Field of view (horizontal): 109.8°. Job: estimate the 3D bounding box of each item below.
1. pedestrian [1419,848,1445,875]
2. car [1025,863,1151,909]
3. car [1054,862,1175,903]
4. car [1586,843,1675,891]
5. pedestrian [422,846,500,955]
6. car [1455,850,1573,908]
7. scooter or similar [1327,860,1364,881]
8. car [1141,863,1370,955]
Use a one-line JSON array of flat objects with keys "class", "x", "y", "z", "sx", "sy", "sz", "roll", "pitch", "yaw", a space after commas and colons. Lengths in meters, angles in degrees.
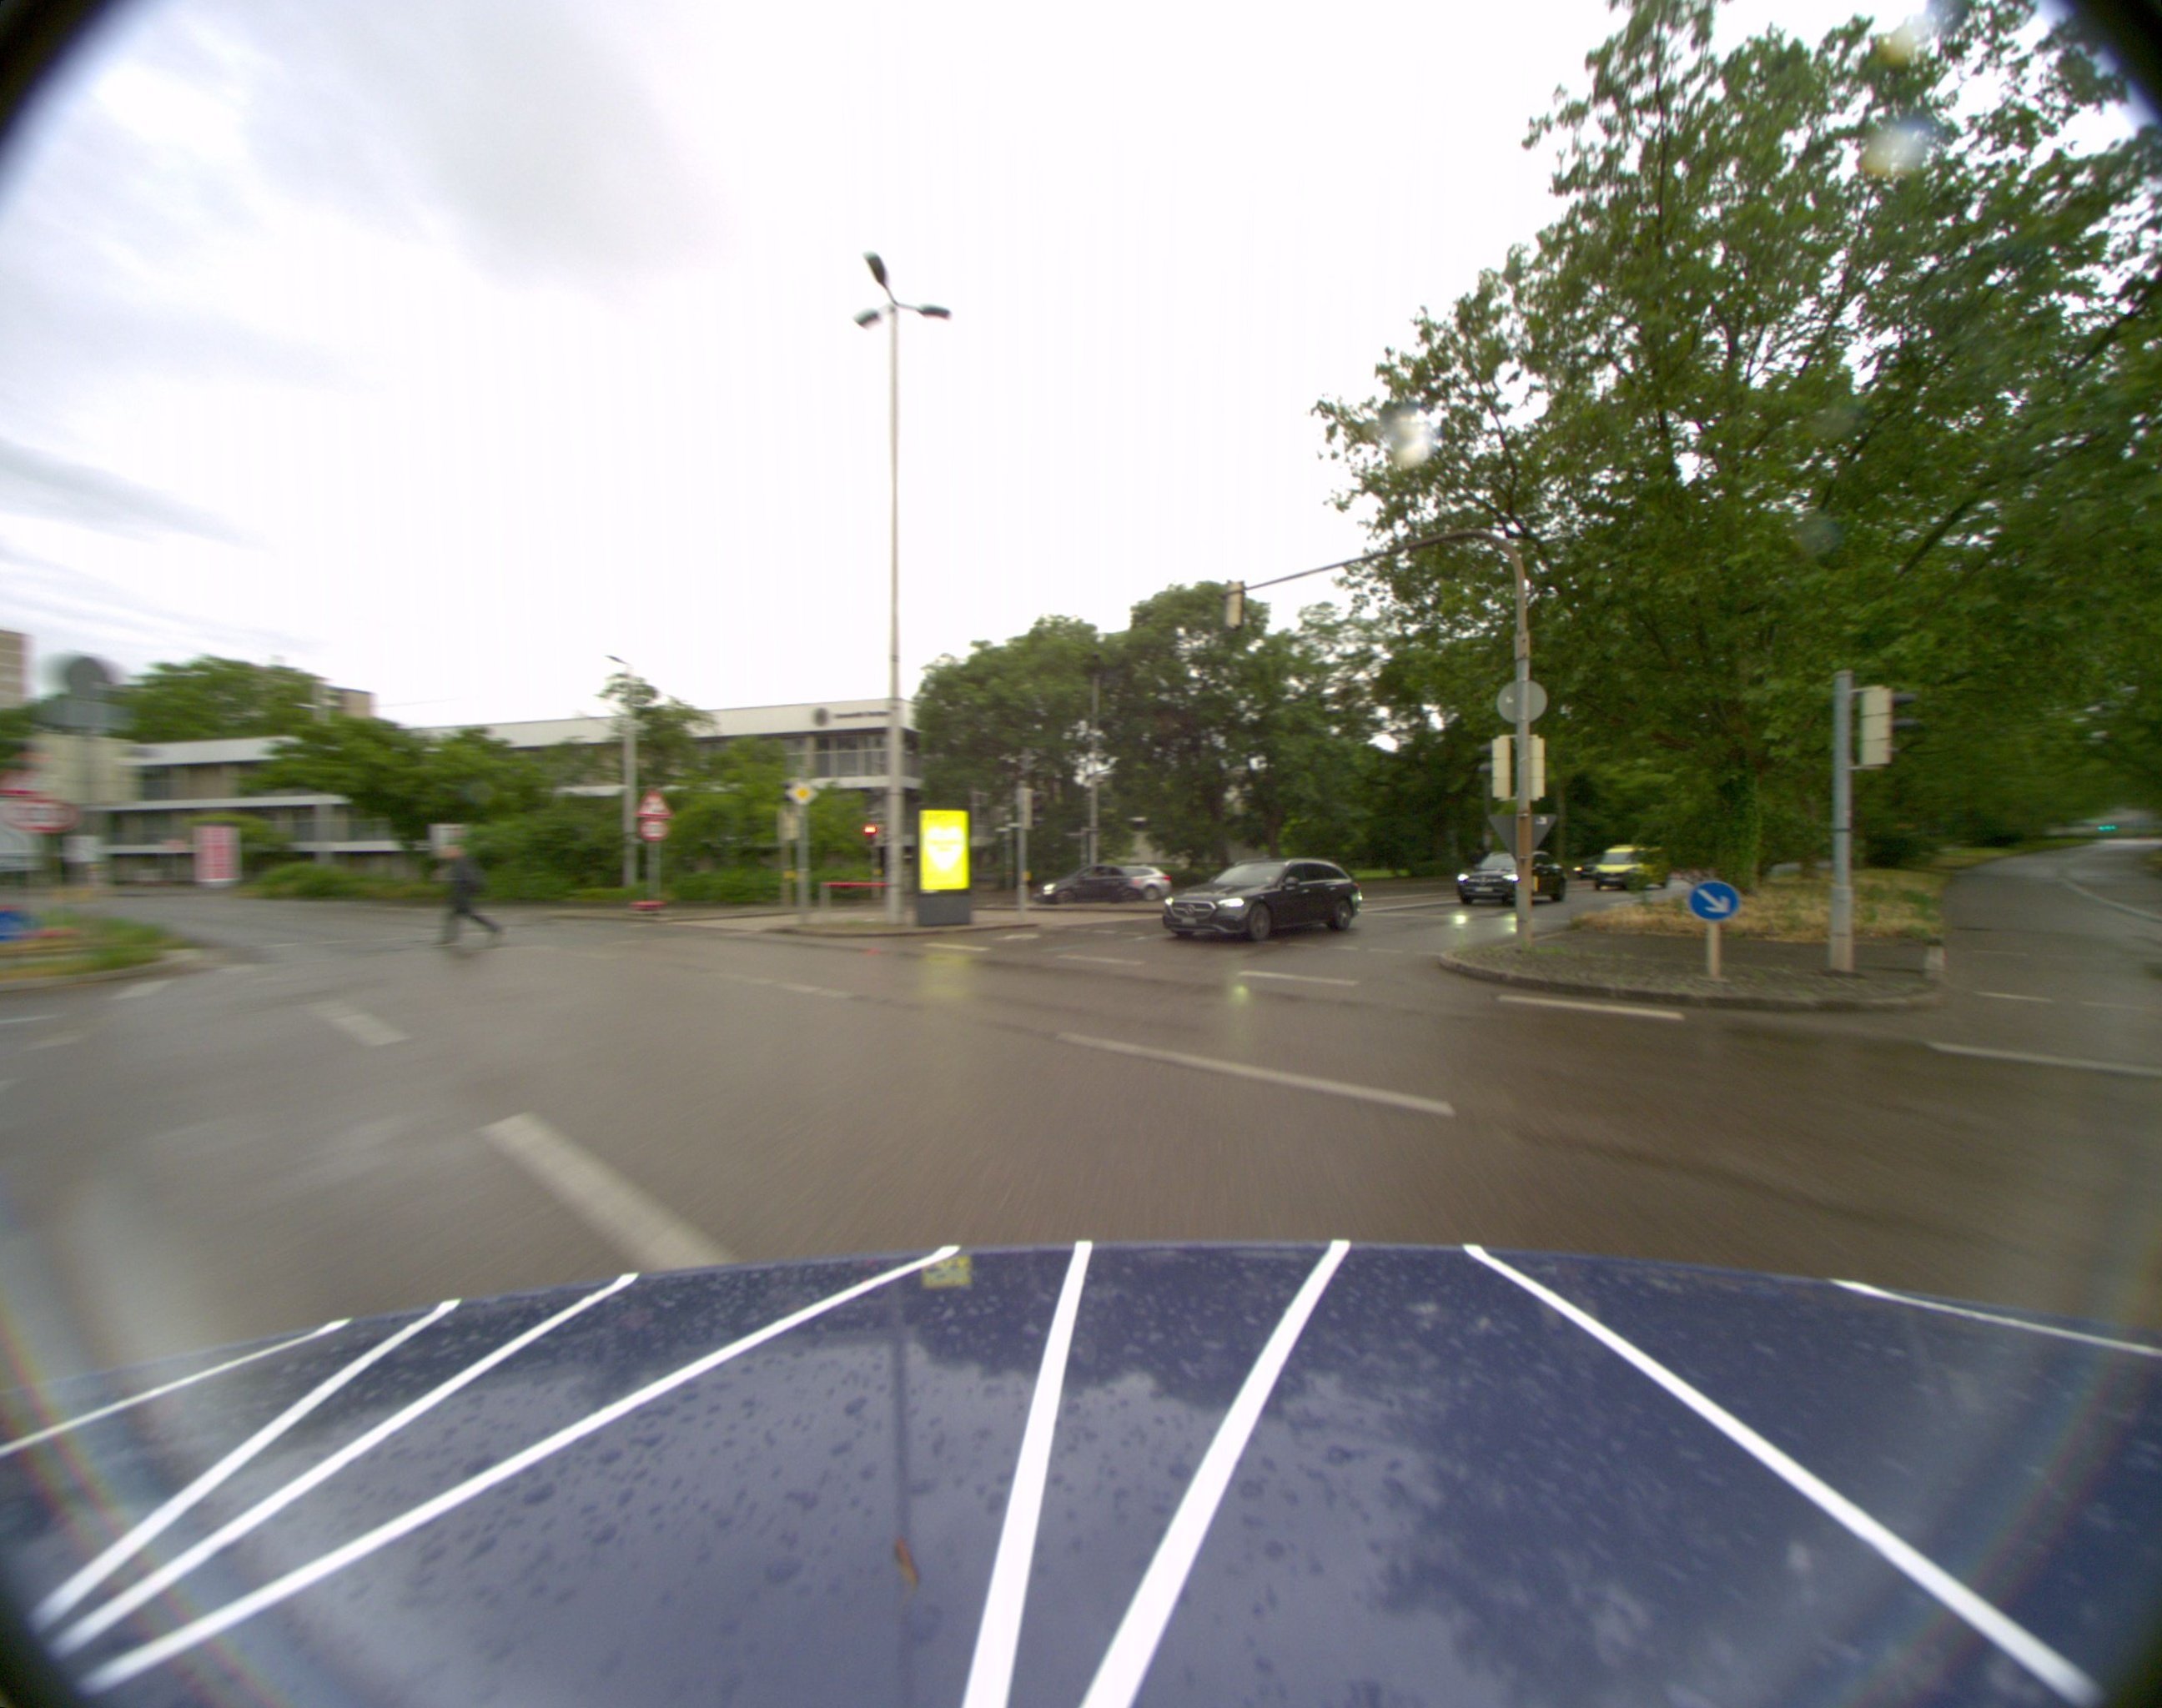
[{"class": "pedestrian", "x": 21.757, "y": 0.474, "z": 47.175, "sx": 1.057, "sy": 1.597, "sz": 1.071, "roll": -2, "pitch": 0, "yaw": 0}, {"class": "car", "x": 0.214, "y": 1.076, "z": 26.431, "sx": 4.002, "sy": 1.441, "sz": 1.866, "roll": -1, "pitch": 0, "yaw": -15}, {"class": "car", "x": 1.323, "y": 1.097, "z": 30.177, "sx": 4.408, "sy": 1.441, "sz": 1.865, "roll": -1, "pitch": 0, "yaw": -20}, {"class": "car", "x": 23.435, "y": 0.526, "z": 32.350, "sx": 4.751, "sy": 1.865, "sz": 1.881, "roll": -1, "pitch": -2, "yaw": -40}, {"class": "pedestrian", "x": -11.346, "y": 0.829, "z": 13.912, "sx": 1.024, "sy": 1.881, "sz": 0.832, "roll": -2, "pitch": 0, "yaw": 38}, {"class": "car", "x": 13.633, "y": 0.731, "z": 23.819, "sx": 4.586, "sy": 1.598, "sz": 1.830, "roll": -1, "pitch": -1, "yaw": -42}, {"class": "scooter or similar", "x": 14.150, "y": 0.871, "z": 40.660, "sx": 1.893, "sy": 1.095, "sz": 0.557, "roll": 0, "pitch": 3, "yaw": -20}, {"class": "car", "x": 3.556, "y": 0.939, "z": 14.862, "sx": 4.940, "sy": 1.437, "sz": 1.880, "roll": -1, "pitch": 0, "yaw": -42}]
